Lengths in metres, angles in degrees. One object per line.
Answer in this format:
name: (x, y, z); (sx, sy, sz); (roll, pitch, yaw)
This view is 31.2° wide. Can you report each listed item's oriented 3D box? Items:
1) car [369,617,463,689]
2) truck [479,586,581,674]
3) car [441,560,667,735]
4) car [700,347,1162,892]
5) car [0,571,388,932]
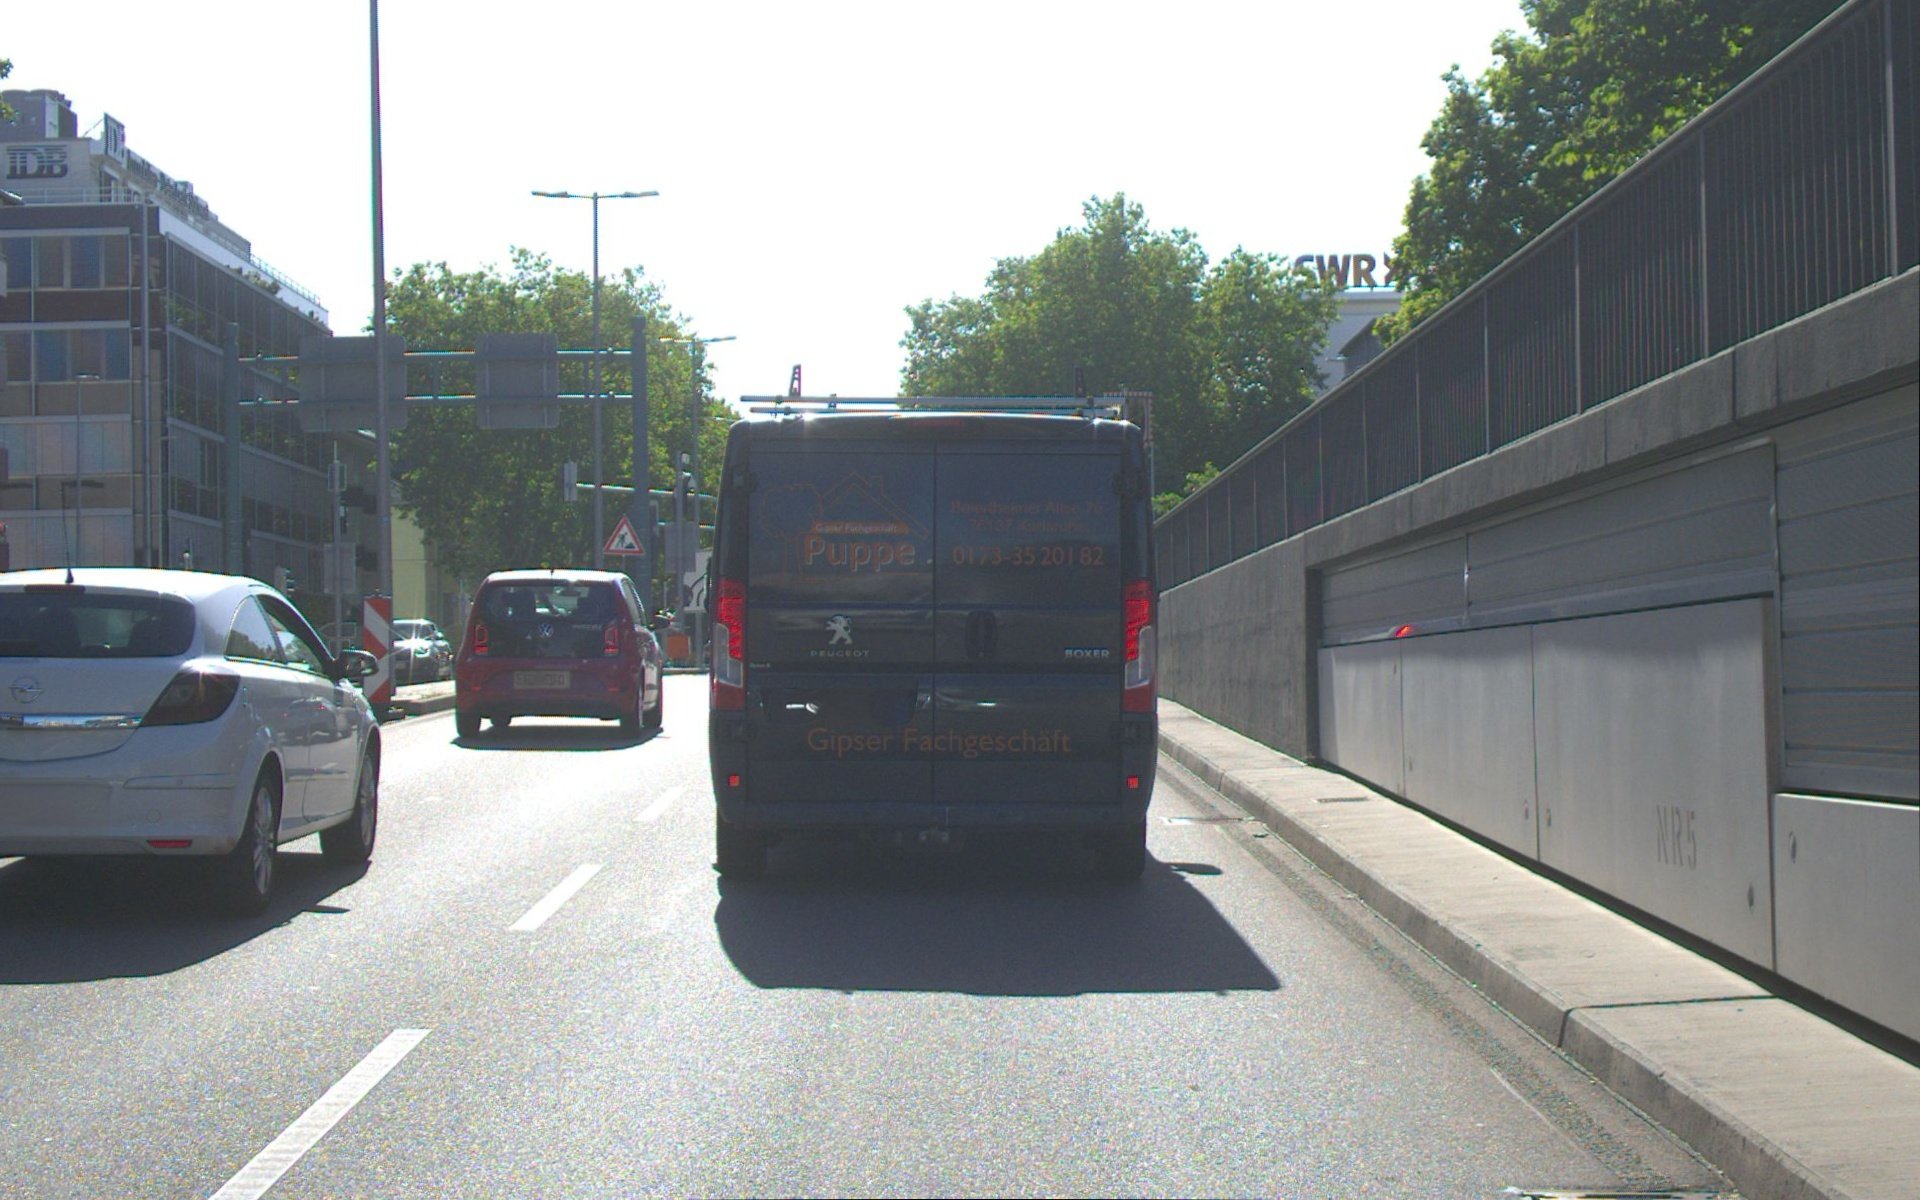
car: (-12.222, 1.174, 77.393); (1.538, 1.460, 3.718); (-3, 0, -1)
truck: (-13.129, 0.938, 105.253); (2.229, 2.519, 6.128); (-2, -1, 0)
car: (-3.603, 0.393, 30.959); (1.689, 1.478, 3.319); (1, 0, -1)
car: (-0.151, 0.107, 17.149); (2.030, 2.394, 3.972); (0, -1, -1)
car: (-3.662, 0.577, 15.340); (1.619, 1.398, 3.852); (1, 0, -1)
